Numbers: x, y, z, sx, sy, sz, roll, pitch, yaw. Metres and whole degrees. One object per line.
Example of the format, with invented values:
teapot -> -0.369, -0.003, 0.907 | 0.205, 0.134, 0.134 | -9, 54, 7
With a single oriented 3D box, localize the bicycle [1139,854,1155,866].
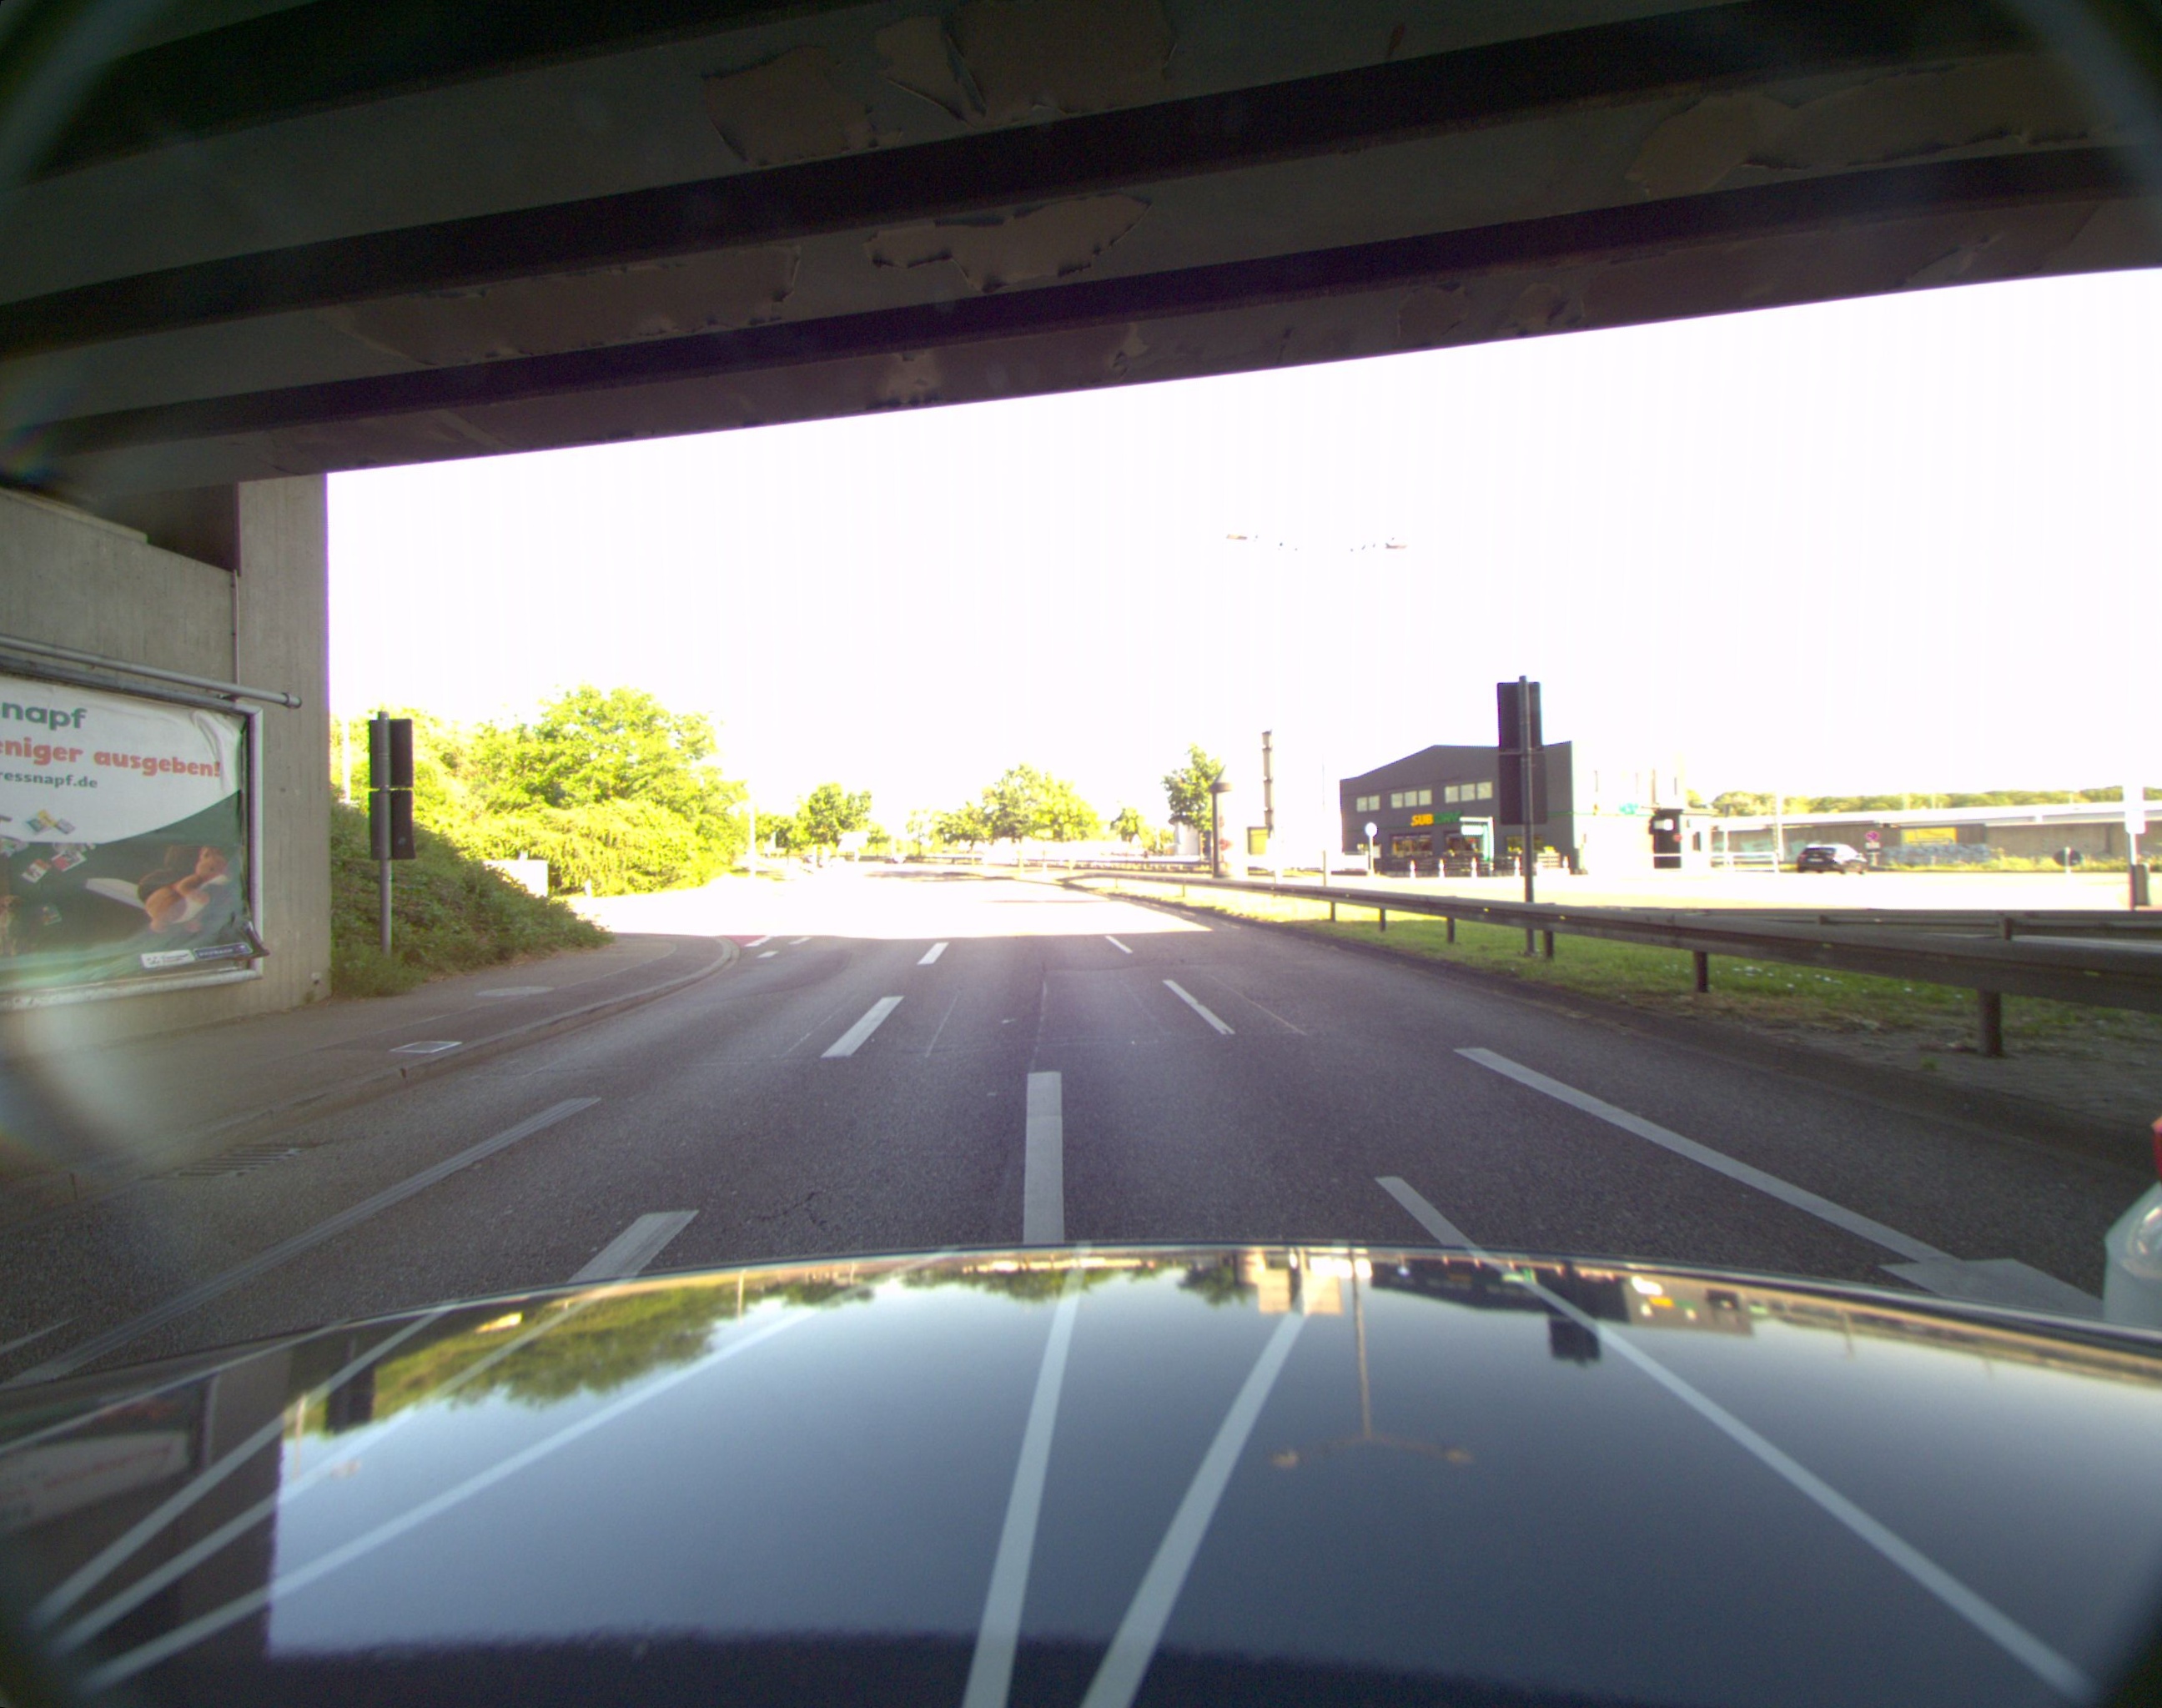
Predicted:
bicycle -> 5.923, 0.539, 68.473 | 0.594, 1.017, 1.746 | -3, 1, -28

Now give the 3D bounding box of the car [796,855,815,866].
car -> -39.929, 0.927, 110.084 | 1.742, 1.411, 4.310 | -1, -2, -30

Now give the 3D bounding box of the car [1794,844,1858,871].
car -> 38.283, 0.192, 39.013 | 4.191, 1.274, 1.825 | 1, 0, -39

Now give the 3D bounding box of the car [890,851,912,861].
car -> -24.463, 0.300, 103.295 | 1.751, 1.274, 4.172 | 1, 0, -30

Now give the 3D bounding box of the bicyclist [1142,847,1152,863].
bicyclist -> 5.944, 0.131, 68.380 | 0.594, 1.419, 0.707 | -3, 1, -28

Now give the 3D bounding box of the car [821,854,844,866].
car -> -30.368, 0.756, 92.790 | 1.742, 1.411, 4.310 | -1, -2, -30

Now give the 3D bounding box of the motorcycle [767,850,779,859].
motorcycle -> -56.253, 0.115, 138.688 | 1.111, 1.651, 3.146 | -3, 1, -38

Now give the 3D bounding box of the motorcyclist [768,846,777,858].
motorcyclist -> -56.403, -0.378, 138.839 | 1.111, 2.228, 1.179 | -3, 1, -39
